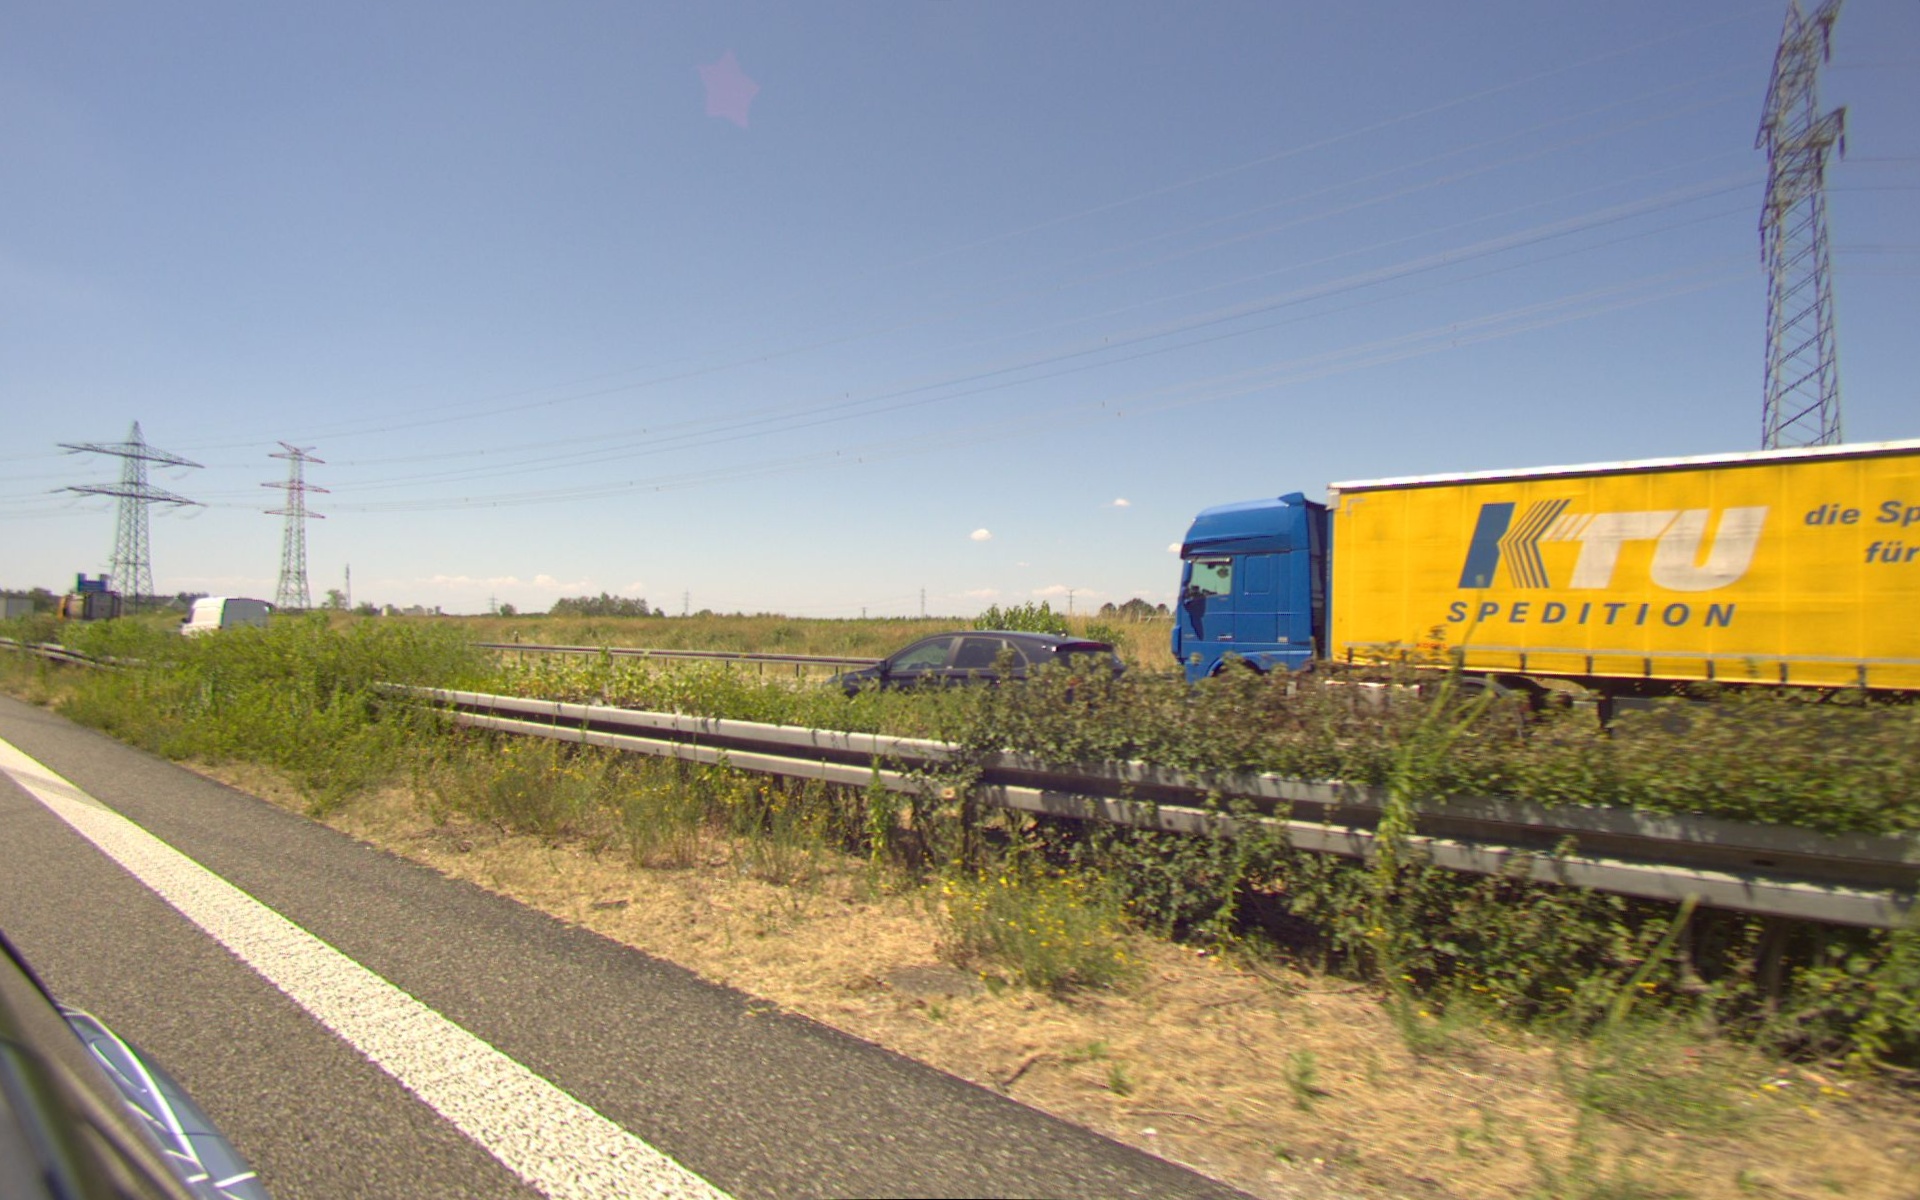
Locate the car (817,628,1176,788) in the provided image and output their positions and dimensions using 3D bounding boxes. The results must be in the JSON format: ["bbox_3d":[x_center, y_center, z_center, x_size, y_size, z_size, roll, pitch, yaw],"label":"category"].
[{"bbox_3d":[0.298,1.090,11.632,3.998,1.507,1.648,-1,-2,42],"label":"car"}]

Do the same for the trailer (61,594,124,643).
[{"bbox_3d":[-76.390,1.682,89.048,9.418,4.076,2.708,-1,-3,41],"label":"trailer"}]

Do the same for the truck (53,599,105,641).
[{"bbox_3d":[-80.559,1.834,92.537,5.642,3.756,2.697,-1,-3,40],"label":"truck"}]

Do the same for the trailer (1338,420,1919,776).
[{"bbox_3d":[12.123,0.001,12.148,14.134,4.008,2.820,-1,-2,41],"label":"trailer"}]

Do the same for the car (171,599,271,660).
[{"bbox_3d":[-34.619,1.379,47.320,7.463,2.651,2.083,-1,-4,41],"label":"car"}]

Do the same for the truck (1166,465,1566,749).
[{"bbox_3d":[6.647,0.168,16.962,5.617,3.937,2.833,-1,-2,41],"label":"truck"}]

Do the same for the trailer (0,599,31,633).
[{"bbox_3d":[-113.416,1.920,120.554,14.236,3.858,2.740,-1,-1,42],"label":"trailer"}]
